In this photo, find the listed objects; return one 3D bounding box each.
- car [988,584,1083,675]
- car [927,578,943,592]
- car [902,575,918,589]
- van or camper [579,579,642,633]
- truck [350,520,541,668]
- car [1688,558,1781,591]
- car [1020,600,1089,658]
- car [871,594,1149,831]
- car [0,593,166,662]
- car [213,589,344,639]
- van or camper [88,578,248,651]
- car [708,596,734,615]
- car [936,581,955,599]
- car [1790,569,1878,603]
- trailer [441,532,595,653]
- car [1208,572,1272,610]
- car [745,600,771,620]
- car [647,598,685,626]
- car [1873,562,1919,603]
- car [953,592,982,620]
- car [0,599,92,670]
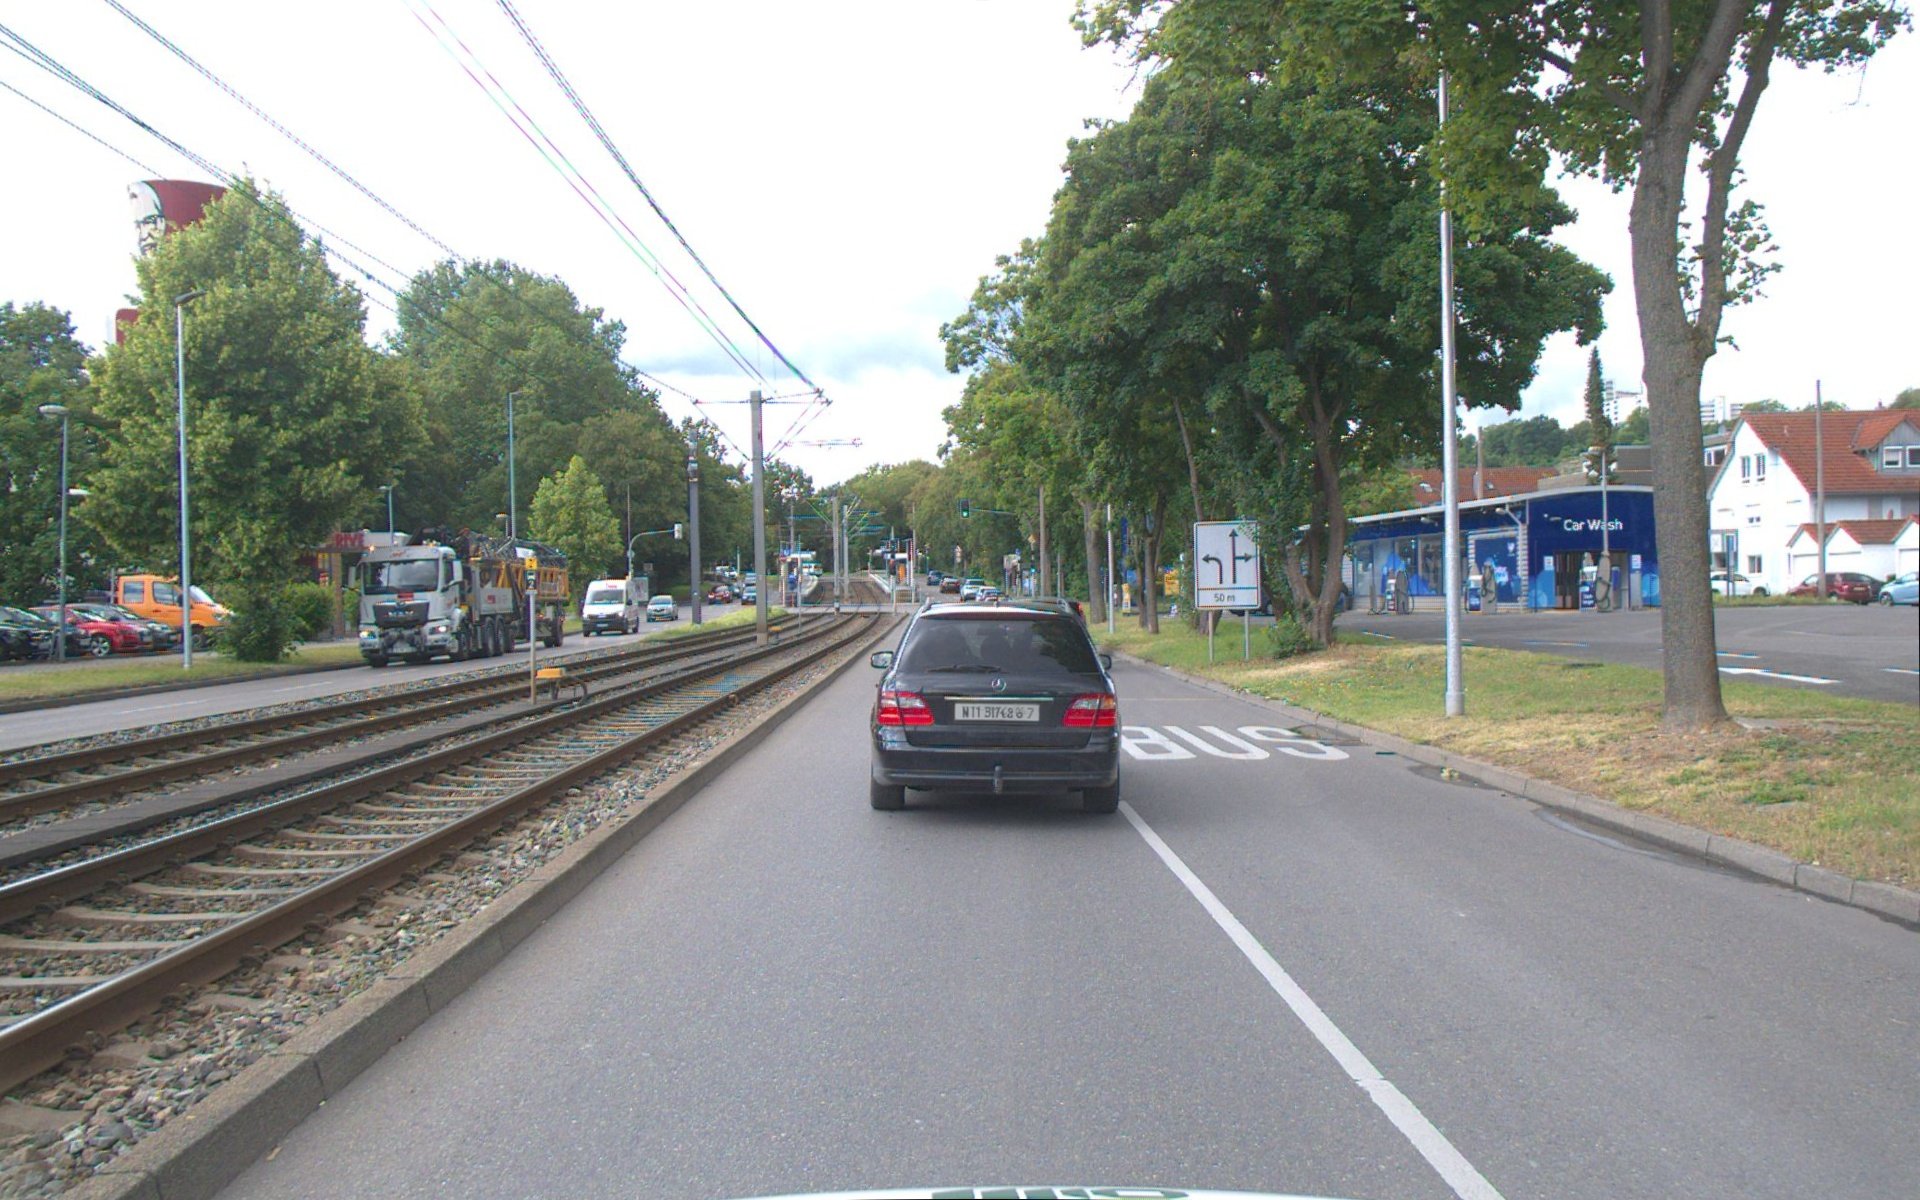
[{"bbox_3d":[1.524,0.589,34.704,1.744,1.781,3.717,1,0,-1],"label":"car"},{"bbox_3d":[-2.862,-1.687,191.106,1.634,1.559,3.767,0,0,-4],"label":"car"},{"bbox_3d":[-6.511,-2.333,214.839,1.953,1.744,3.999,-1,0,-1],"label":"car"},{"bbox_3d":[-16.387,0.249,77.918,1.954,2.395,5.762,-2,0,-3],"label":"van or camper"},{"bbox_3d":[-14.603,-0.166,47.966,2.653,3.727,11.103,-2,0,-4],"label":"truck"},{"bbox_3d":[41.260,-1.355,88.168,4.132,1.713,1.776,0,0,-4],"label":"car"},{"bbox_3d":[2.444,0.730,43.474,1.539,1.439,3.353,1,0,-1],"label":"car"},{"bbox_3d":[0.291,0.712,12.499,1.772,1.500,3.880,0,0,-1],"label":"car"},{"bbox_3d":[-24.031,0.717,45.051,3.910,1.829,1.876,0,0,-6],"label":"car"},{"bbox_3d":[-24.195,0.480,58.839,3.910,1.627,1.794,-2,0,-6],"label":"car"},{"bbox_3d":[-23.903,0.436,50.025,3.910,2.172,1.876,0,0,-6],"label":"van or camper"},{"bbox_3d":[-20.775,0.466,143.961,1.729,1.676,3.770,0,0,-1],"label":"car"},{"bbox_3d":[-1.499,-1.066,173.585,1.953,1.870,3.999,0,0,-1],"label":"car"},{"bbox_3d":[37.944,-0.601,71.897,1.553,1.419,3.407,1,0,-13],"label":"car"},{"bbox_3d":[-15.278,-0.256,58.331,2.652,3.724,13.288,-2,0,-4],"label":"trailer"},{"bbox_3d":[13.378,-0.431,78.851,1.965,1.712,4.579,-1,0,23],"label":"car"},{"bbox_3d":[-16.531,0.809,135.392,1.729,1.676,3.770,0,0,-1],"label":"car"},{"bbox_3d":[-18.050,0.735,101.689,1.729,1.676,3.770,0,0,-1],"label":"car"},{"bbox_3d":[38.986,-0.701,66.911,1.506,1.627,3.725,1,0,-13],"label":"car"},{"bbox_3d":[0.504,0.424,116.018,1.953,1.870,3.999,0,0,-1],"label":"car"},{"bbox_3d":[-23.312,0.838,39.696,3.910,1.627,1.876,-2,0,-6],"label":"car"}]
